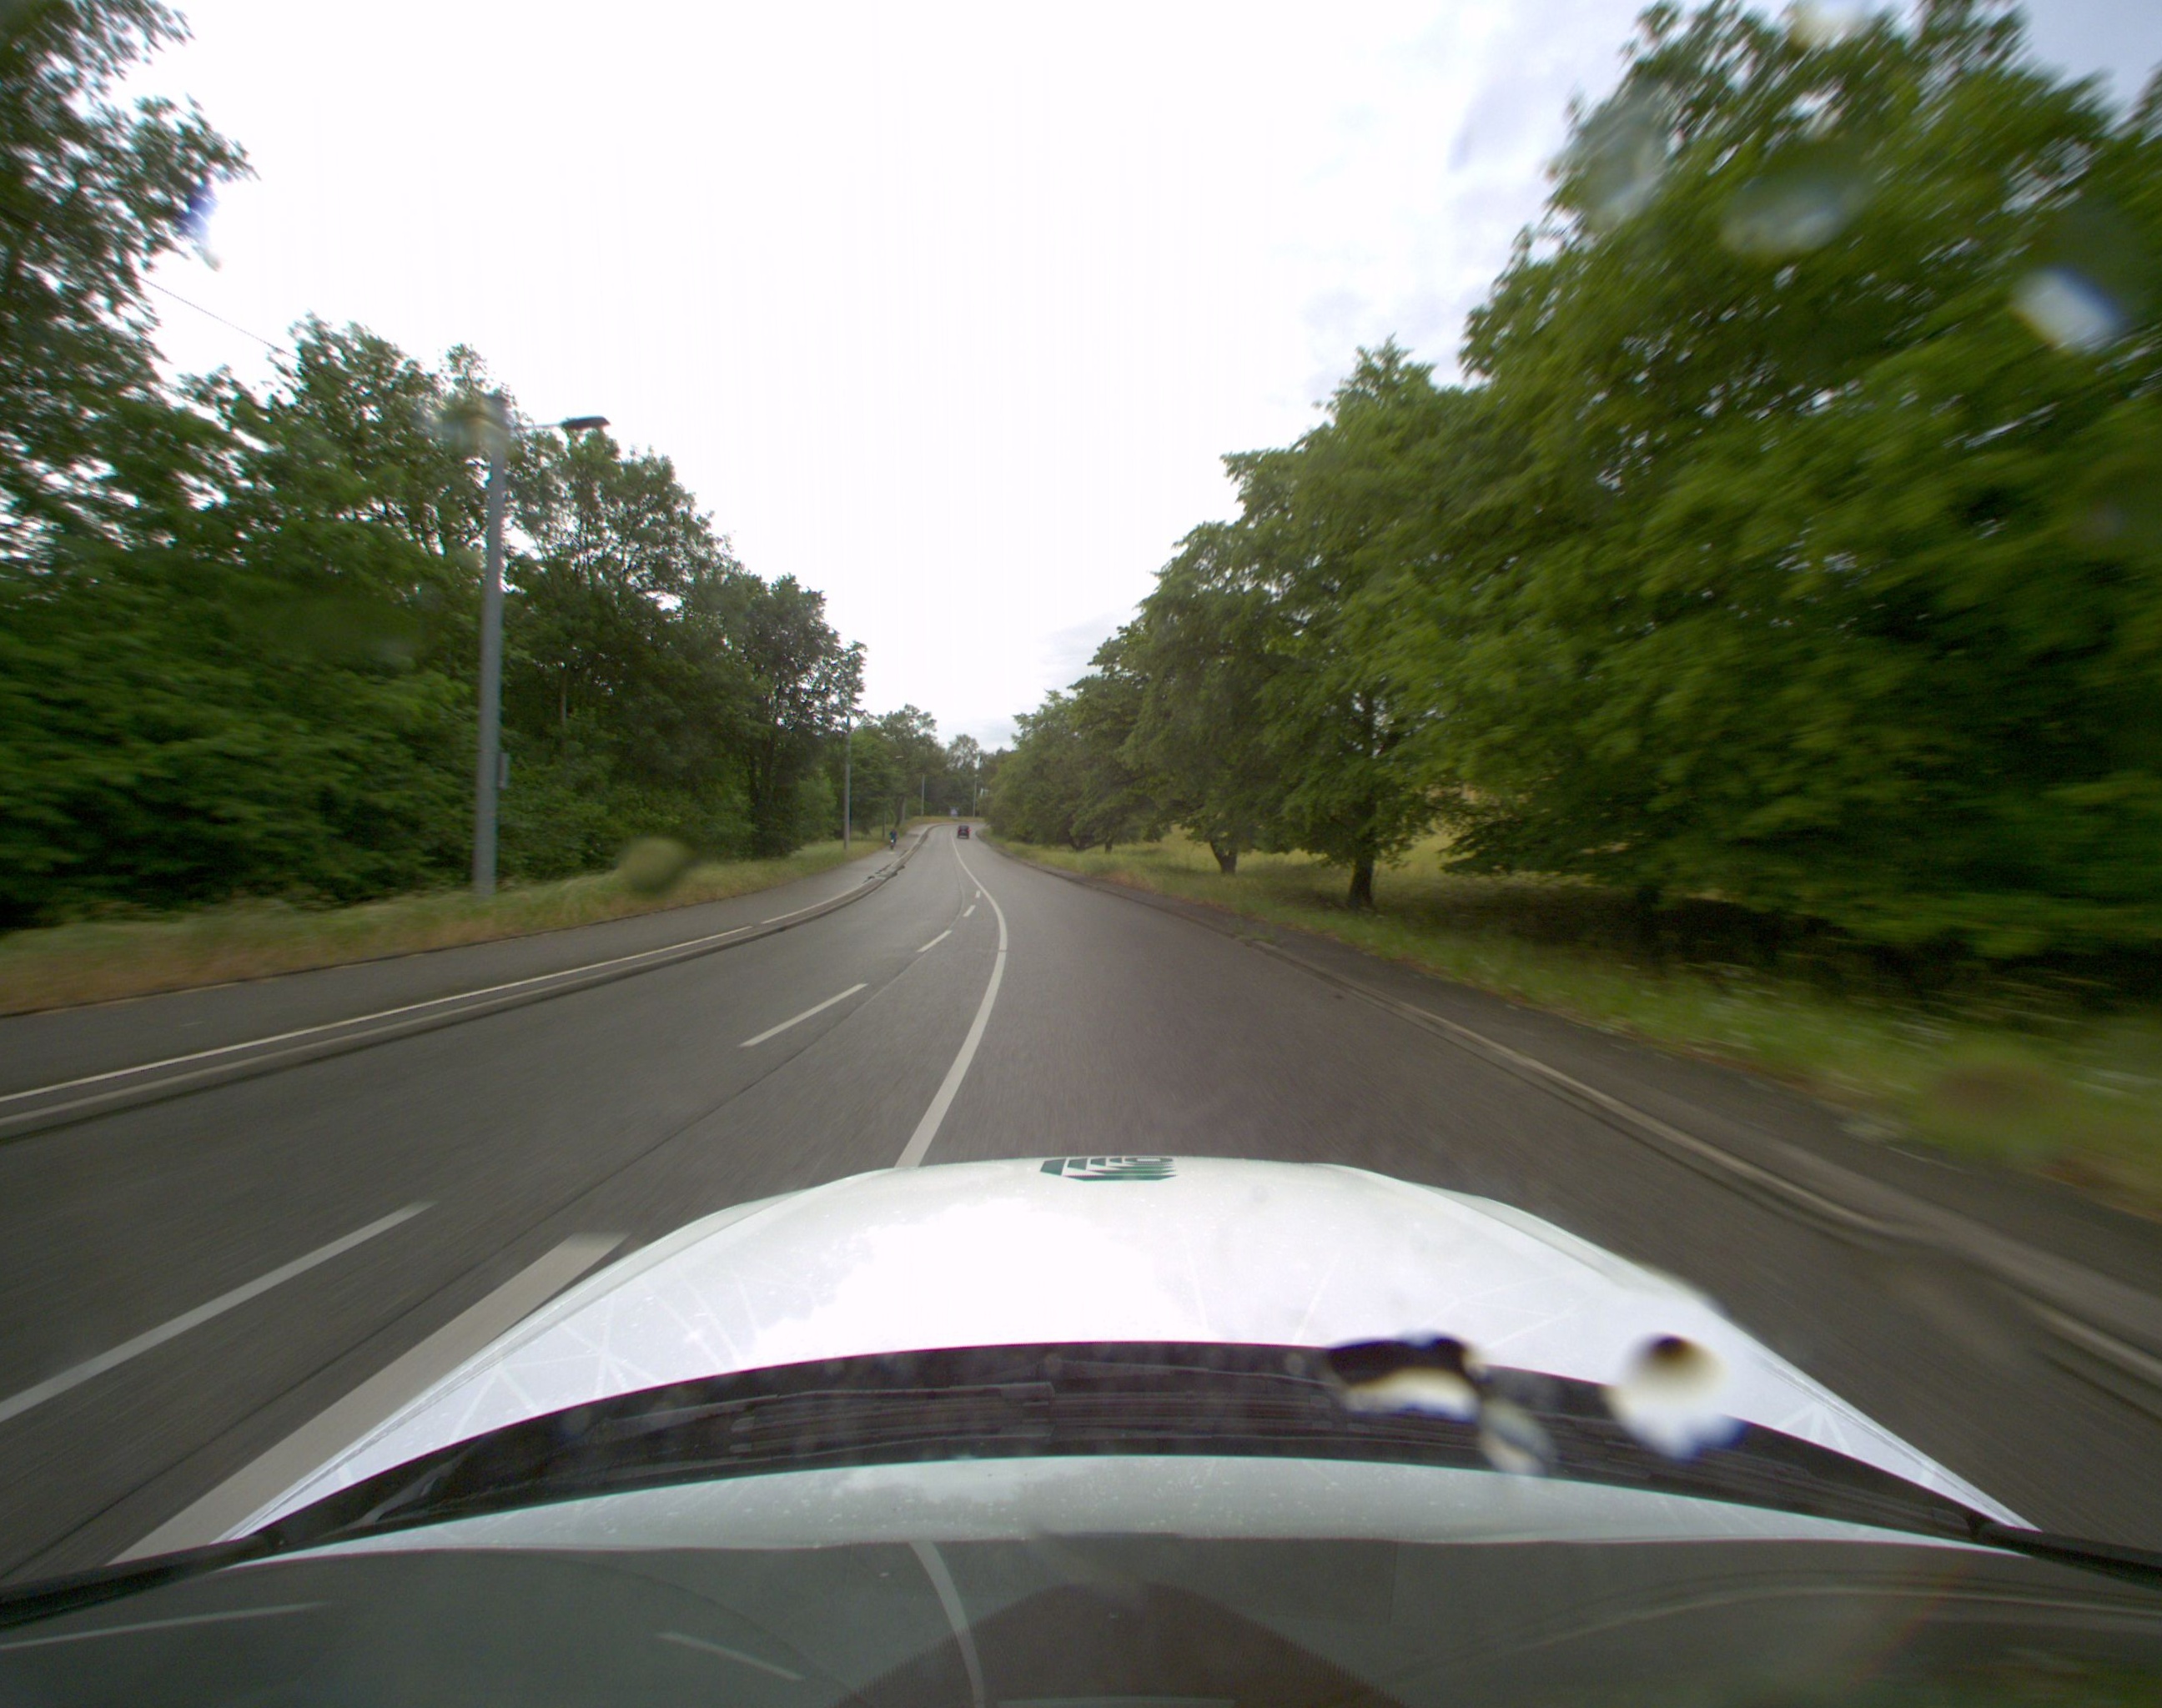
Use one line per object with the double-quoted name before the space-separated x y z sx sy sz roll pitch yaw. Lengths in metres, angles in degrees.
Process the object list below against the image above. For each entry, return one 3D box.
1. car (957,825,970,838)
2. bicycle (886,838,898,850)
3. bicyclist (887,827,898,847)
"car" -16.590 -3.224 114.649 1.741 1.716 3.989 3 1 -9
"bicycle" -15.853 -0.858 68.363 0.724 0.941 2.542 3 1 -10
"bicyclist" -15.842 -1.438 68.491 0.708 1.555 1.167 3 1 -10
